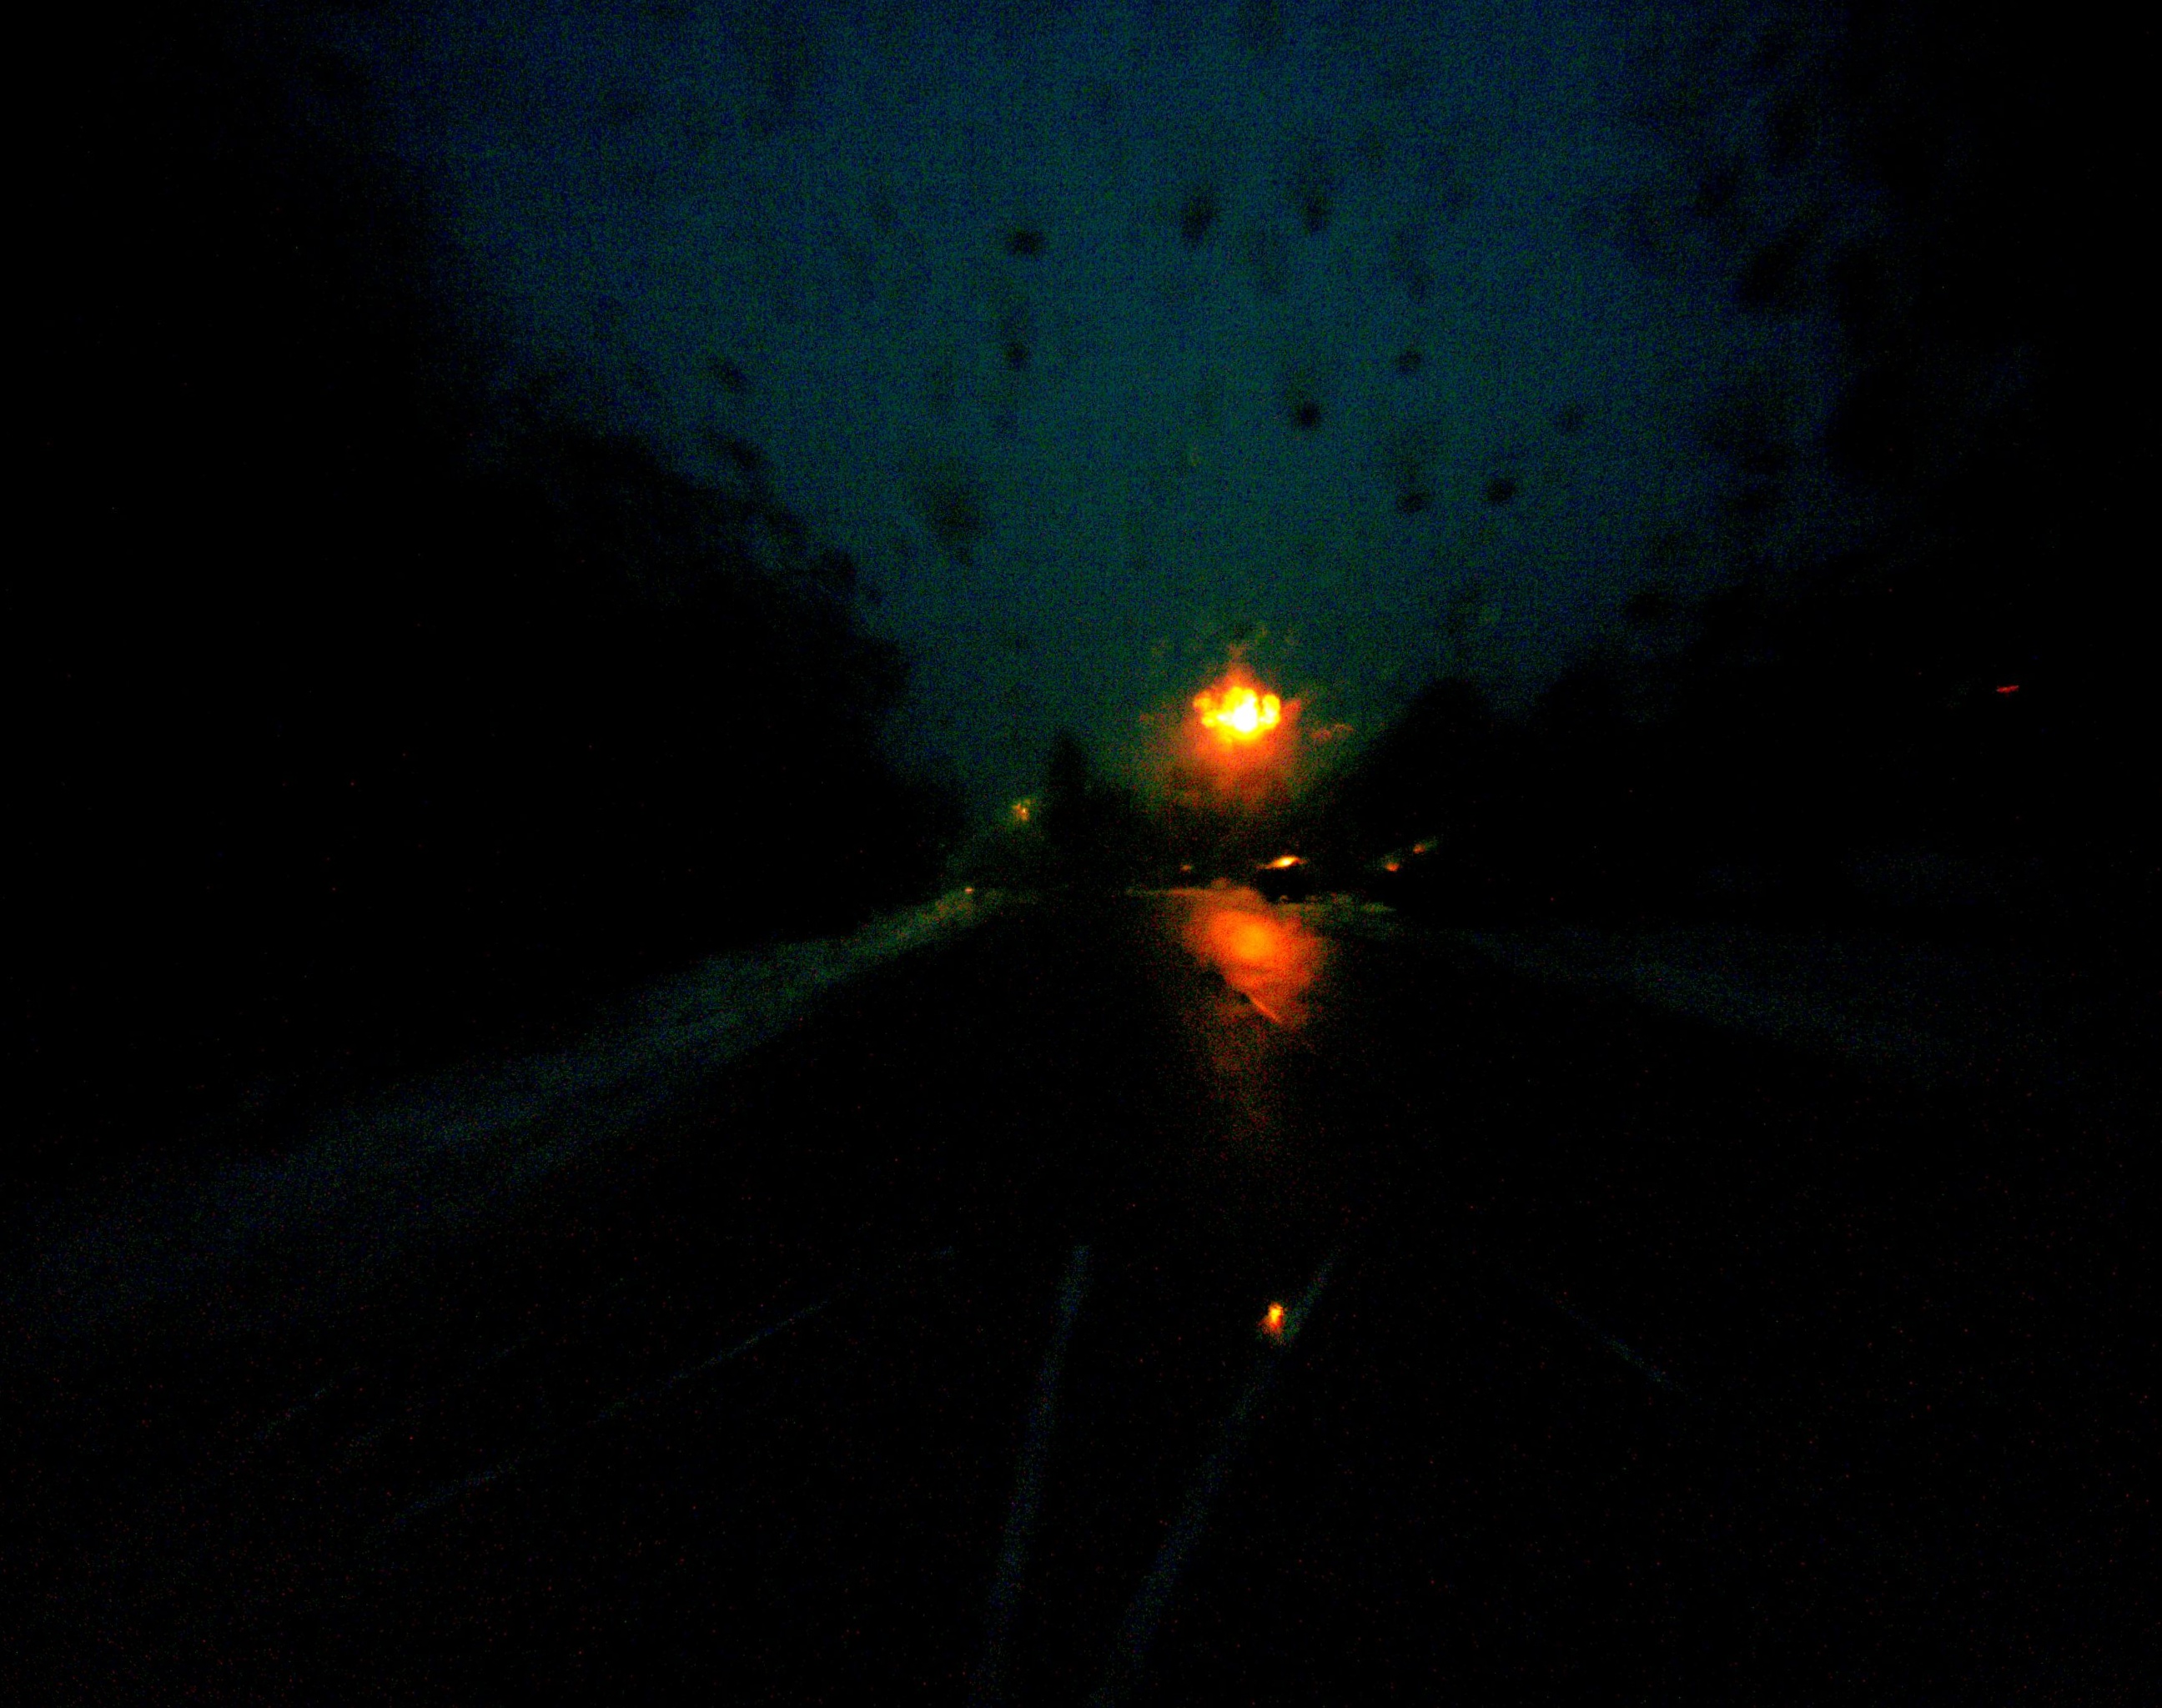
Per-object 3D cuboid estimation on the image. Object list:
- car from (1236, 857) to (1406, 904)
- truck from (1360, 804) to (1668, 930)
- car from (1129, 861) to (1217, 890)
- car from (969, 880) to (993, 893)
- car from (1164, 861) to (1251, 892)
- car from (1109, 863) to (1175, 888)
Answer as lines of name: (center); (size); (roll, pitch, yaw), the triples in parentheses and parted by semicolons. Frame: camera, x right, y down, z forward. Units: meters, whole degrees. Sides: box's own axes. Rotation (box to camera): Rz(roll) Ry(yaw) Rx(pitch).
car: (7.837, 0.848, 25.007); (4.903, 1.476, 2.122); (0, -1, -9)
truck: (8.567, 0.266, 15.222); (5.279, 2.289, 1.999); (0, -1, -10)
car: (5.305, 1.232, 43.998); (4.546, 1.556, 2.108); (0, -1, -17)
car: (-13.198, 4.233, 99.650); (1.884, 1.417, 5.386); (-4, -3, -21)
car: (6.321, 1.126, 38.266); (3.868, 1.462, 1.937); (0, -1, -13)
car: (3.911, 1.403, 49.596); (2.003, 1.556, 4.987); (1, -2, -27)
